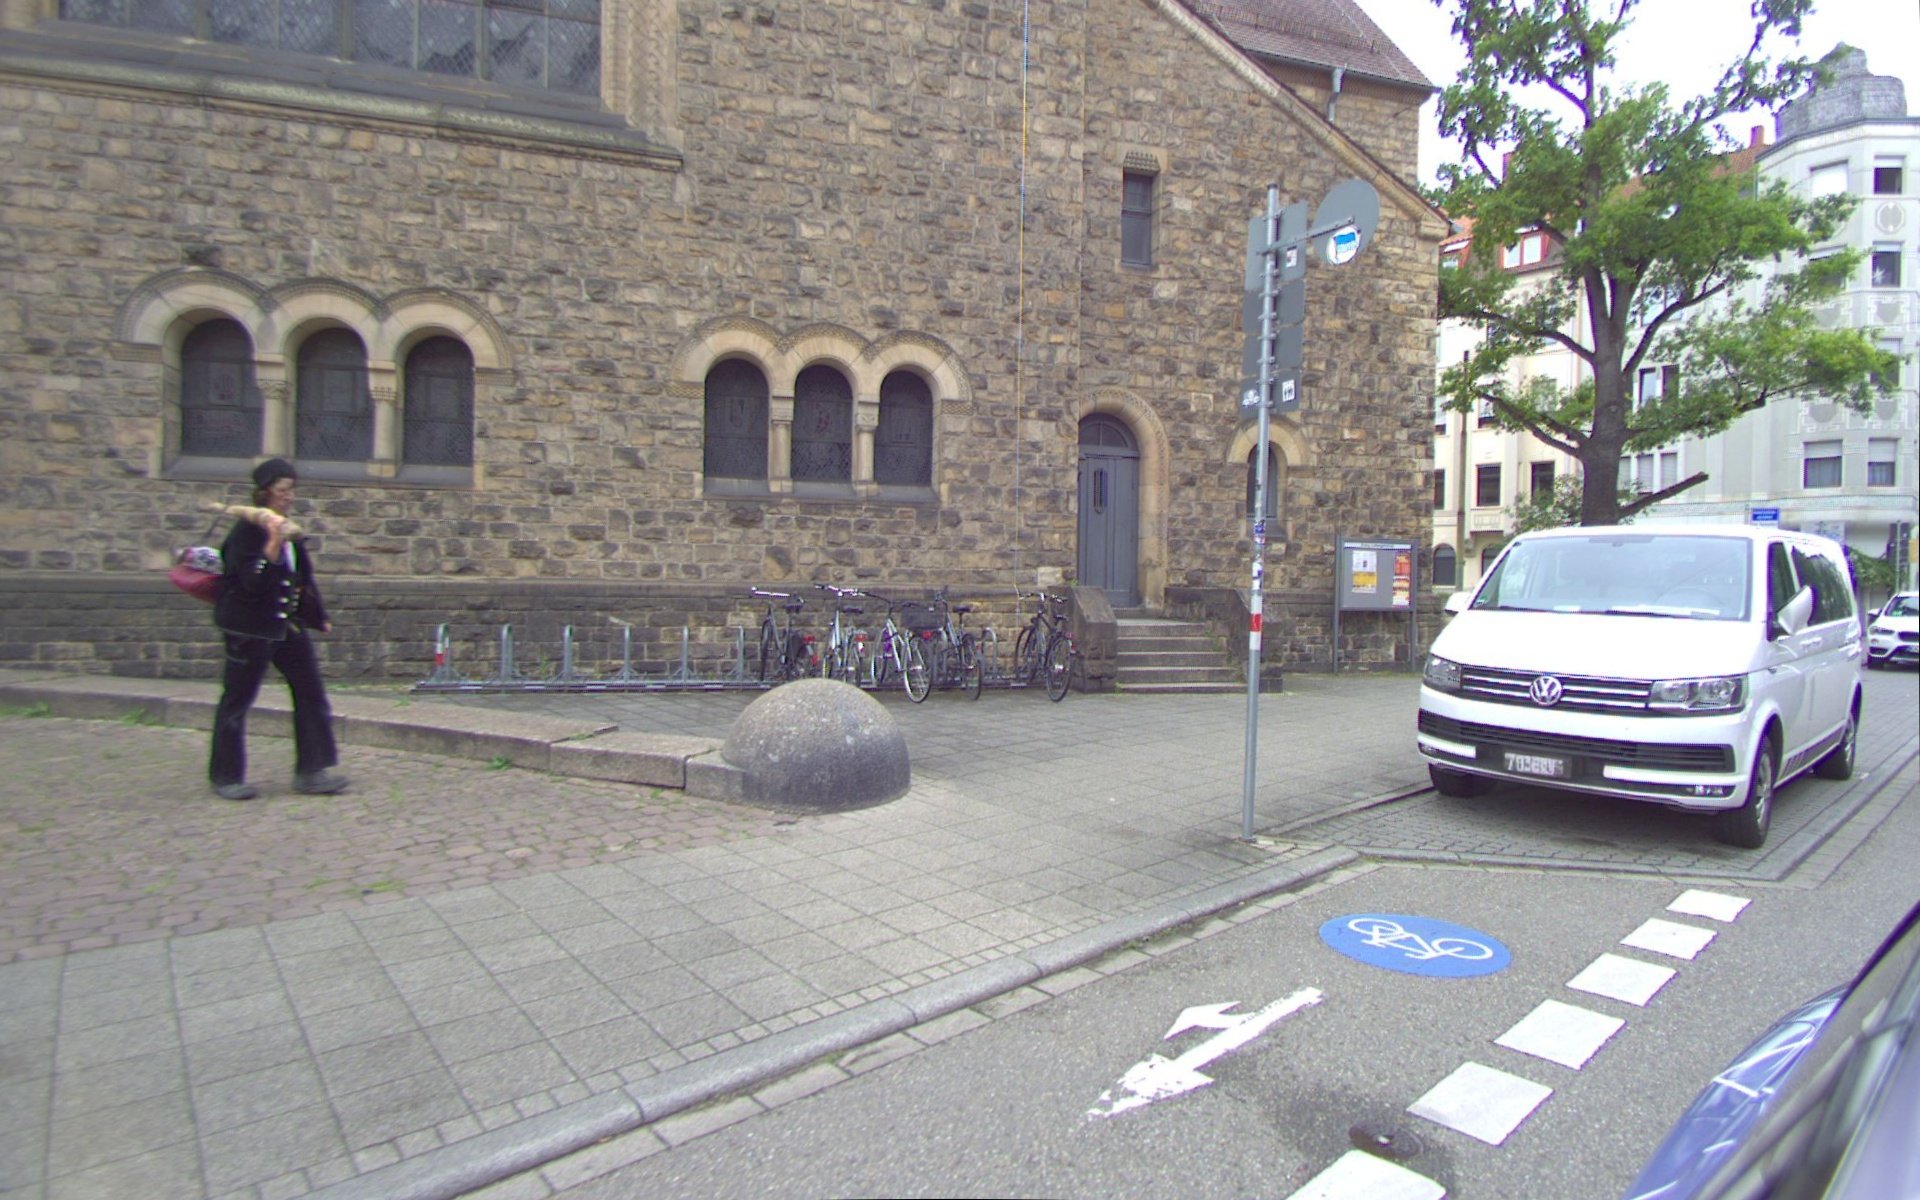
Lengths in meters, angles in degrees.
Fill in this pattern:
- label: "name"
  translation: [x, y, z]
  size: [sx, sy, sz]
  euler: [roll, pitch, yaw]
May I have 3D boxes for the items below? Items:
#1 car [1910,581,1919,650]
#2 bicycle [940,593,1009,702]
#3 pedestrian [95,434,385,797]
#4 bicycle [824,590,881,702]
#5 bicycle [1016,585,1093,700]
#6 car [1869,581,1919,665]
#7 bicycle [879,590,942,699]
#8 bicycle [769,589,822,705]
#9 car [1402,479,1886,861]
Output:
- label: "car"
  translation: [24.312, 0.379, 24.262]
  size: [3.930, 1.585, 1.819]
  euler: [0, 1, -41]
- label: "bicycle"
  translation: [0.135, 0.476, 10.842]
  size: [0.304, 1.073, 1.346]
  euler: [1, 1, -18]
- label: "pedestrian"
  translation: [-3.990, 0.100, 5.721]
  size: [0.998, 1.831, 0.818]
  euler: [6, -1, -19]
- label: "bicycle"
  translation: [-1.144, 0.446, 10.610]
  size: [0.304, 1.073, 1.387]
  euler: [1, 1, -18]
- label: "bicycle"
  translation: [1.015, 0.431, 11.089]
  size: [0.304, 1.161, 1.346]
  euler: [1, 1, -18]
- label: "car"
  translation: [19.769, 0.439, 20.284]
  size: [3.930, 1.585, 1.819]
  euler: [0, 1, -41]
- label: "bicycle"
  translation: [-0.554, 0.443, 10.908]
  size: [0.304, 1.073, 1.387]
  euler: [1, 1, -18]
- label: "bicycle"
  translation: [-1.682, 0.438, 10.249]
  size: [0.304, 1.073, 1.387]
  euler: [1, 1, -18]
- label: "car"
  translation: [5.335, 0.327, 7.536]
  size: [5.075, 1.944, 1.808]
  euler: [0, 1, -42]
